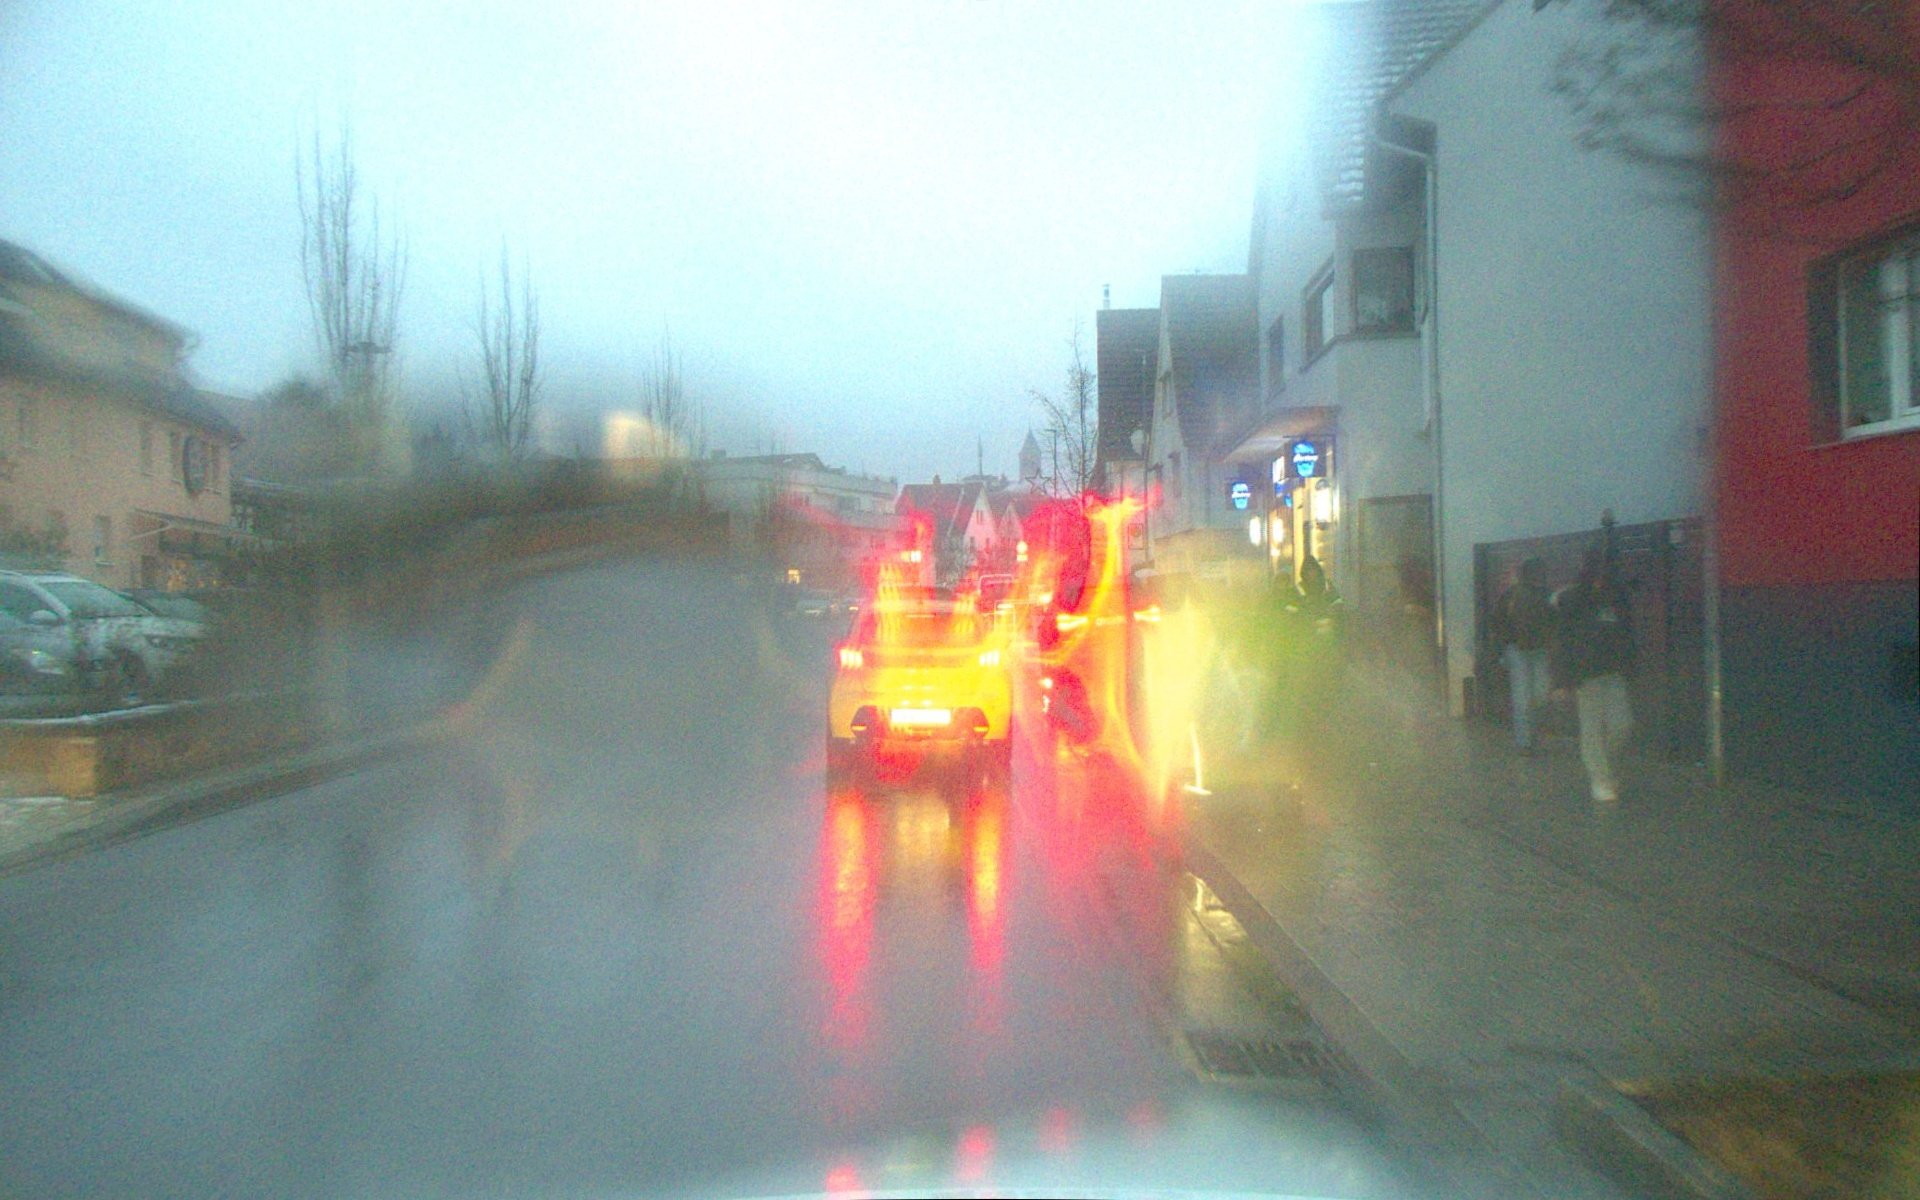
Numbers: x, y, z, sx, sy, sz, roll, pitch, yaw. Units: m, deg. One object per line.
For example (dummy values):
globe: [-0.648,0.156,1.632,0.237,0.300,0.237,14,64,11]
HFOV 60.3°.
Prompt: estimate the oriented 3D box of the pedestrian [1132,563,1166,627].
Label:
pedestrian: [4.584,-0.132,40.204,0.608,1.542,0.731,0,1,-14]

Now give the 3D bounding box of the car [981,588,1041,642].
car: [1.801,0.535,59.516,1.957,1.897,4.082,0,-1,-1]

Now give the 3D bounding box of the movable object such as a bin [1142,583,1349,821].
movable object such as a bin: [1.903,0.644,11.273,1.106,1.445,1.417,-4,1,1]

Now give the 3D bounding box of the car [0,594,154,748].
car: [-9.792,0.669,15.798,3.375,1.396,1.600,-1,0,-2]

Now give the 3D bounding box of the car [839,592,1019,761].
car: [-0.297,0.658,15.774,1.531,1.437,3.017,1,0,-1]

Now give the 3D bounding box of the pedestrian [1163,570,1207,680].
pedestrian: [3.640,0.405,26.790,0.561,1.729,0.653,-2,-1,0]

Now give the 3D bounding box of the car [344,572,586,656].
car: [-10.353,0.302,34.865,4.534,1.697,1.998,0,-1,-4]

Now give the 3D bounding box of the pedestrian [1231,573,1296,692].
pedestrian: [4.343,0.453,23.712,0.608,1.655,0.903,0,1,-14]

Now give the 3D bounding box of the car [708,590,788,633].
car: [-11.418,0.668,88.825,4.309,2.204,1.987,-1,-3,43]

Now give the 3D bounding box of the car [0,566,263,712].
car: [-10.043,0.417,18.536,3.713,1.549,1.716,0,-1,5]

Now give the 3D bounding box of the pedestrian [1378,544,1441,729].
pedestrian: [4.560,0.354,16.812,0.517,1.832,0.865,0,0,9]

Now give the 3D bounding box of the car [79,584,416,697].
car: [-10.320,0.603,24.176,4.042,1.524,1.879,1,-2,1]

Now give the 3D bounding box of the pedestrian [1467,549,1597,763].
pedestrian: [4.782,0.463,13.901,0.731,1.708,1.052,-2,-1,5]

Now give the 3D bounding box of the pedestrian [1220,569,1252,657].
pedestrian: [5.553,0.261,33.281,0.605,1.757,0.502,0,-2,11]

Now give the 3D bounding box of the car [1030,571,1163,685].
car: [2.192,0.426,27.595,1.700,1.722,4.384,-1,0,-2]

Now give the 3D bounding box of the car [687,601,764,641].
car: [-12.214,1.112,85.957,4.096,2.011,1.811,-1,-3,43]

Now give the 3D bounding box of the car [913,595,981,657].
car: [-0.329,0.583,38.870,1.510,1.355,3.310,1,0,-1]

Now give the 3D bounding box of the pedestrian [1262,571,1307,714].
pedestrian: [3.889,0.492,19.777,0.469,1.659,1.020,-2,1,12]

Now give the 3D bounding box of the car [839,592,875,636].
car: [-5.608,0.790,90.104,1.881,2.254,3.972,1,-2,-3]

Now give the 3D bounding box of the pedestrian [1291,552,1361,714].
pedestrian: [4.072,0.352,18.418,0.697,1.745,1.035,-2,0,12]

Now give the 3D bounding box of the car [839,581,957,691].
car: [-0.954,0.540,27.127,1.730,1.657,3.586,1,0,1]

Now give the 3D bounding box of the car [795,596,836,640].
car: [-7.153,0.930,82.156,1.881,2.063,3.972,1,-2,-3]

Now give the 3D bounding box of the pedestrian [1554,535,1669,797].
pedestrian: [4.367,0.440,11.139,0.517,1.682,0.954,0,-2,9]
